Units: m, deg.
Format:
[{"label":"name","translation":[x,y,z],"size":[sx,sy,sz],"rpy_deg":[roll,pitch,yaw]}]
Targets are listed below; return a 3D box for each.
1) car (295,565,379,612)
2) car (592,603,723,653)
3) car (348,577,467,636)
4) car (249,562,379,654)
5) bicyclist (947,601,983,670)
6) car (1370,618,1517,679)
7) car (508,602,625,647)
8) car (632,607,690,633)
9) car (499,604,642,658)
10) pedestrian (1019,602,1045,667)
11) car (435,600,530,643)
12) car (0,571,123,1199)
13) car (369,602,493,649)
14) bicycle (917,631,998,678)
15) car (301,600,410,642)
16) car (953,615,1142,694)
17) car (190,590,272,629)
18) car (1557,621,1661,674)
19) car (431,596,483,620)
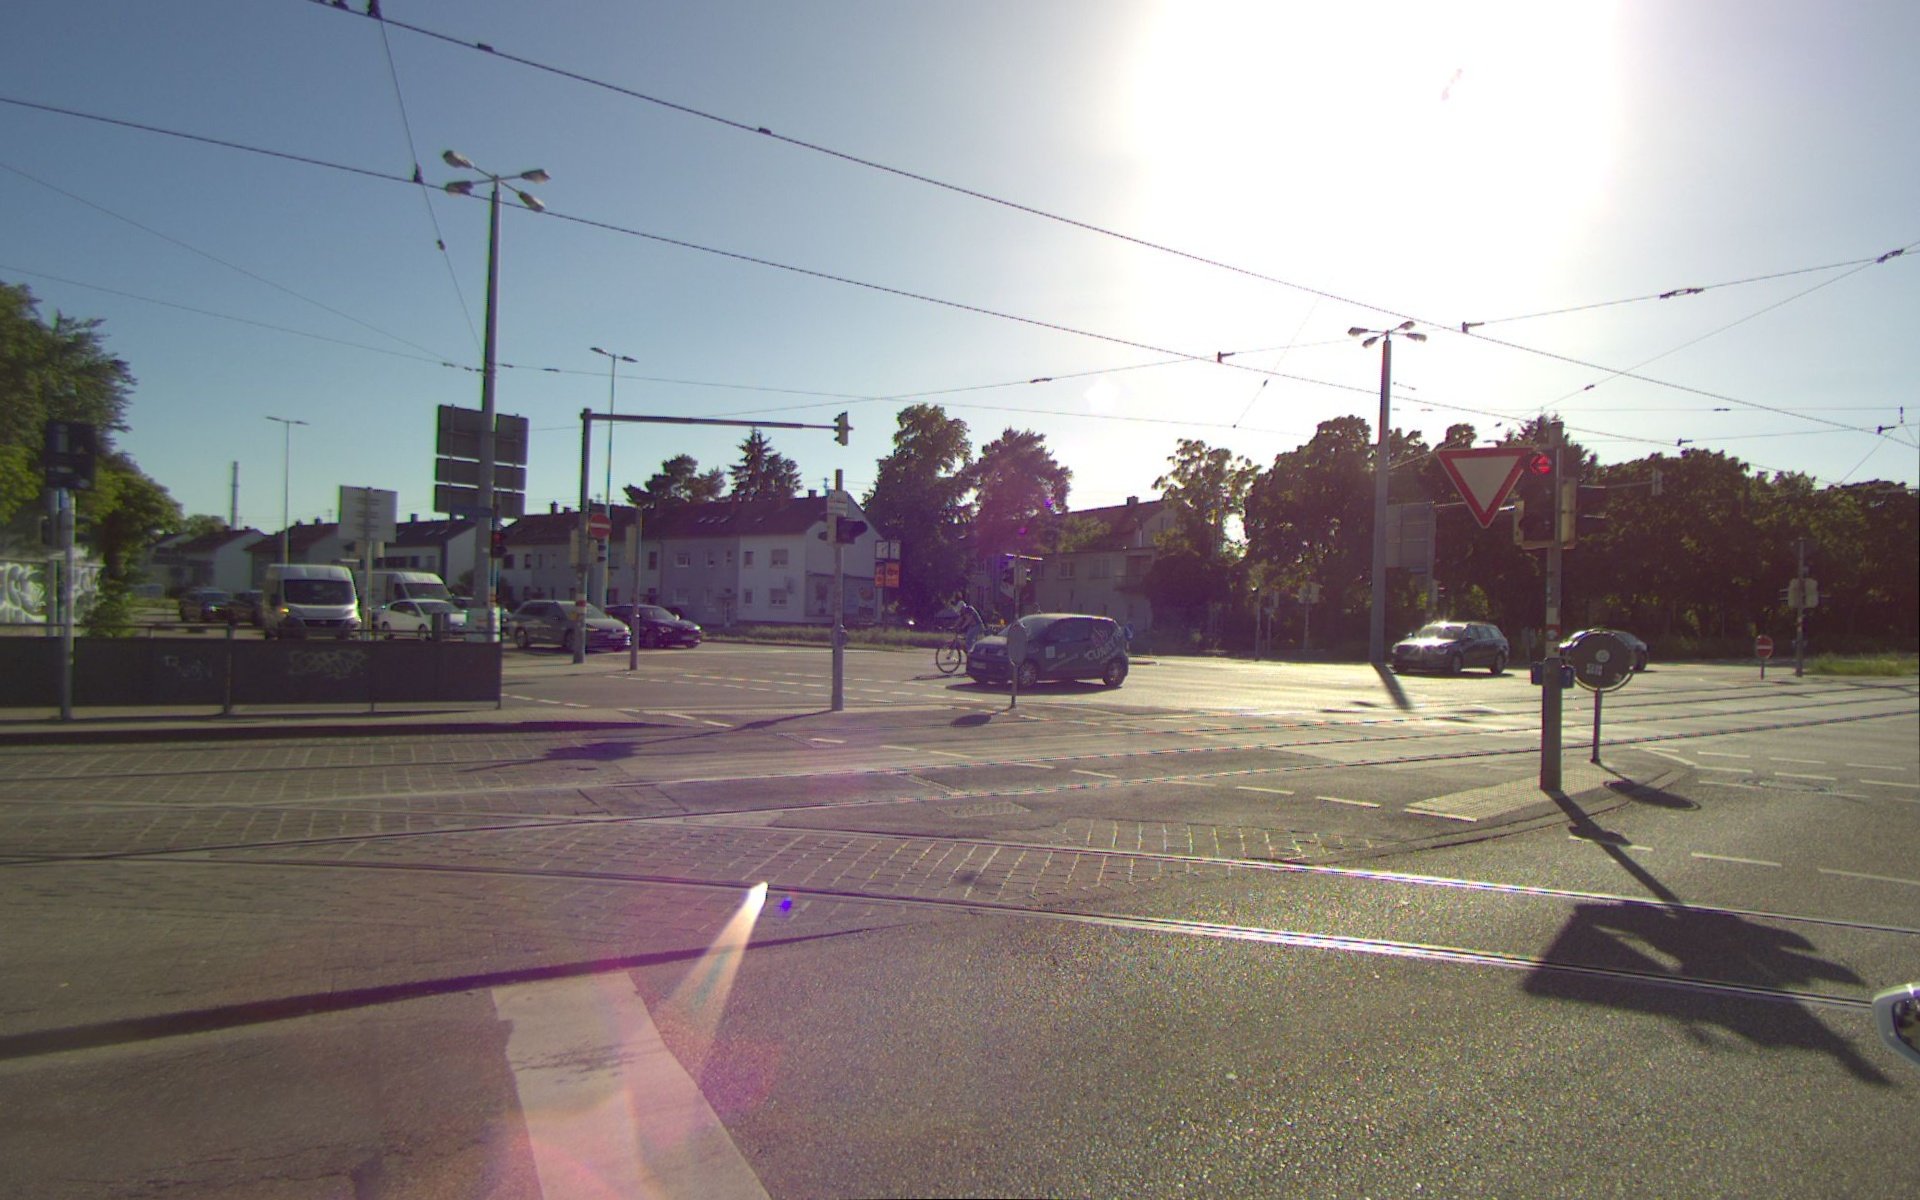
[{"label":"car","translation":[-29.227,-0.530,47.113],"size":[3.931,2.040,1.804],"rpy_deg":[1,-1,33]},{"label":"car","translation":[-10.077,0.906,33.412],"size":[4.176,1.486,1.933],"rpy_deg":[1,-1,33]},{"label":"car","translation":[-24.212,0.271,43.940],"size":[5.824,2.443,2.174],"rpy_deg":[1,-1,35]},{"label":"car","translation":[-19.771,0.257,30.573],"size":[2.331,2.490,6.788],"rpy_deg":[2,-1,-41]},{"label":"bicyclist","translation":[0.117,0.838,23.808],"size":[0.641,1.629,0.487],"rpy_deg":[2,-1,-30]},{"label":"car","translation":[14.140,1.400,29.280],"size":[4.646,1.617,1.801],"rpy_deg":[2,-1,-35]},{"label":"car","translation":[-14.426,0.873,36.769],"size":[4.186,1.486,1.933],"rpy_deg":[1,0,33]},{"label":"car","translation":[-21.933,1.436,73.648],"size":[3.933,1.785,1.994],"rpy_deg":[1,-1,34]},{"label":"car","translation":[-11.853,0.914,30.433],"size":[4.557,1.496,1.668],"rpy_deg":[1,-1,33]},{"label":"pedestrian","translation":[2.239,1.069,31.071],"size":[0.599,1.974,0.776],"rpy_deg":[1,0,17]},{"label":"car","translation":[-18.931,0.834,39.755],"size":[3.934,1.595,1.658],"rpy_deg":[1,-1,35]},{"label":"car","translation":[-3.817,0.643,0.928],"size":[4.371,1.548,1.867],"rpy_deg":[2,-1,-31]},{"label":"car","translation":[-18.377,0.857,34.873],"size":[4.291,1.485,1.933],"rpy_deg":[1,-1,33]},{"label":"bicycle","translation":[-0.048,1.290,23.706],"size":[1.926,1.056,0.505],"rpy_deg":[2,-1,-31]},{"label":"car","translation":[-23.458,0.810,38.949],"size":[4.186,1.485,1.933],"rpy_deg":[1,-1,33]},{"label":"car","translation":[1.847,1.105,20.813],"size":[3.665,1.477,1.673],"rpy_deg":[2,-1,-33]},{"label":"car","translation":[-34.333,0.460,47.304],"size":[3.935,1.725,1.993],"rpy_deg":[1,-1,36]},{"label":"car","translation":[22.517,1.639,34.812],"size":[3.964,1.710,1.778],"rpy_deg":[2,-1,-37]},{"label":"car","translation":[-39.888,0.617,79.651],"size":[3.933,1.785,1.994],"rpy_deg":[1,-1,34]}]
